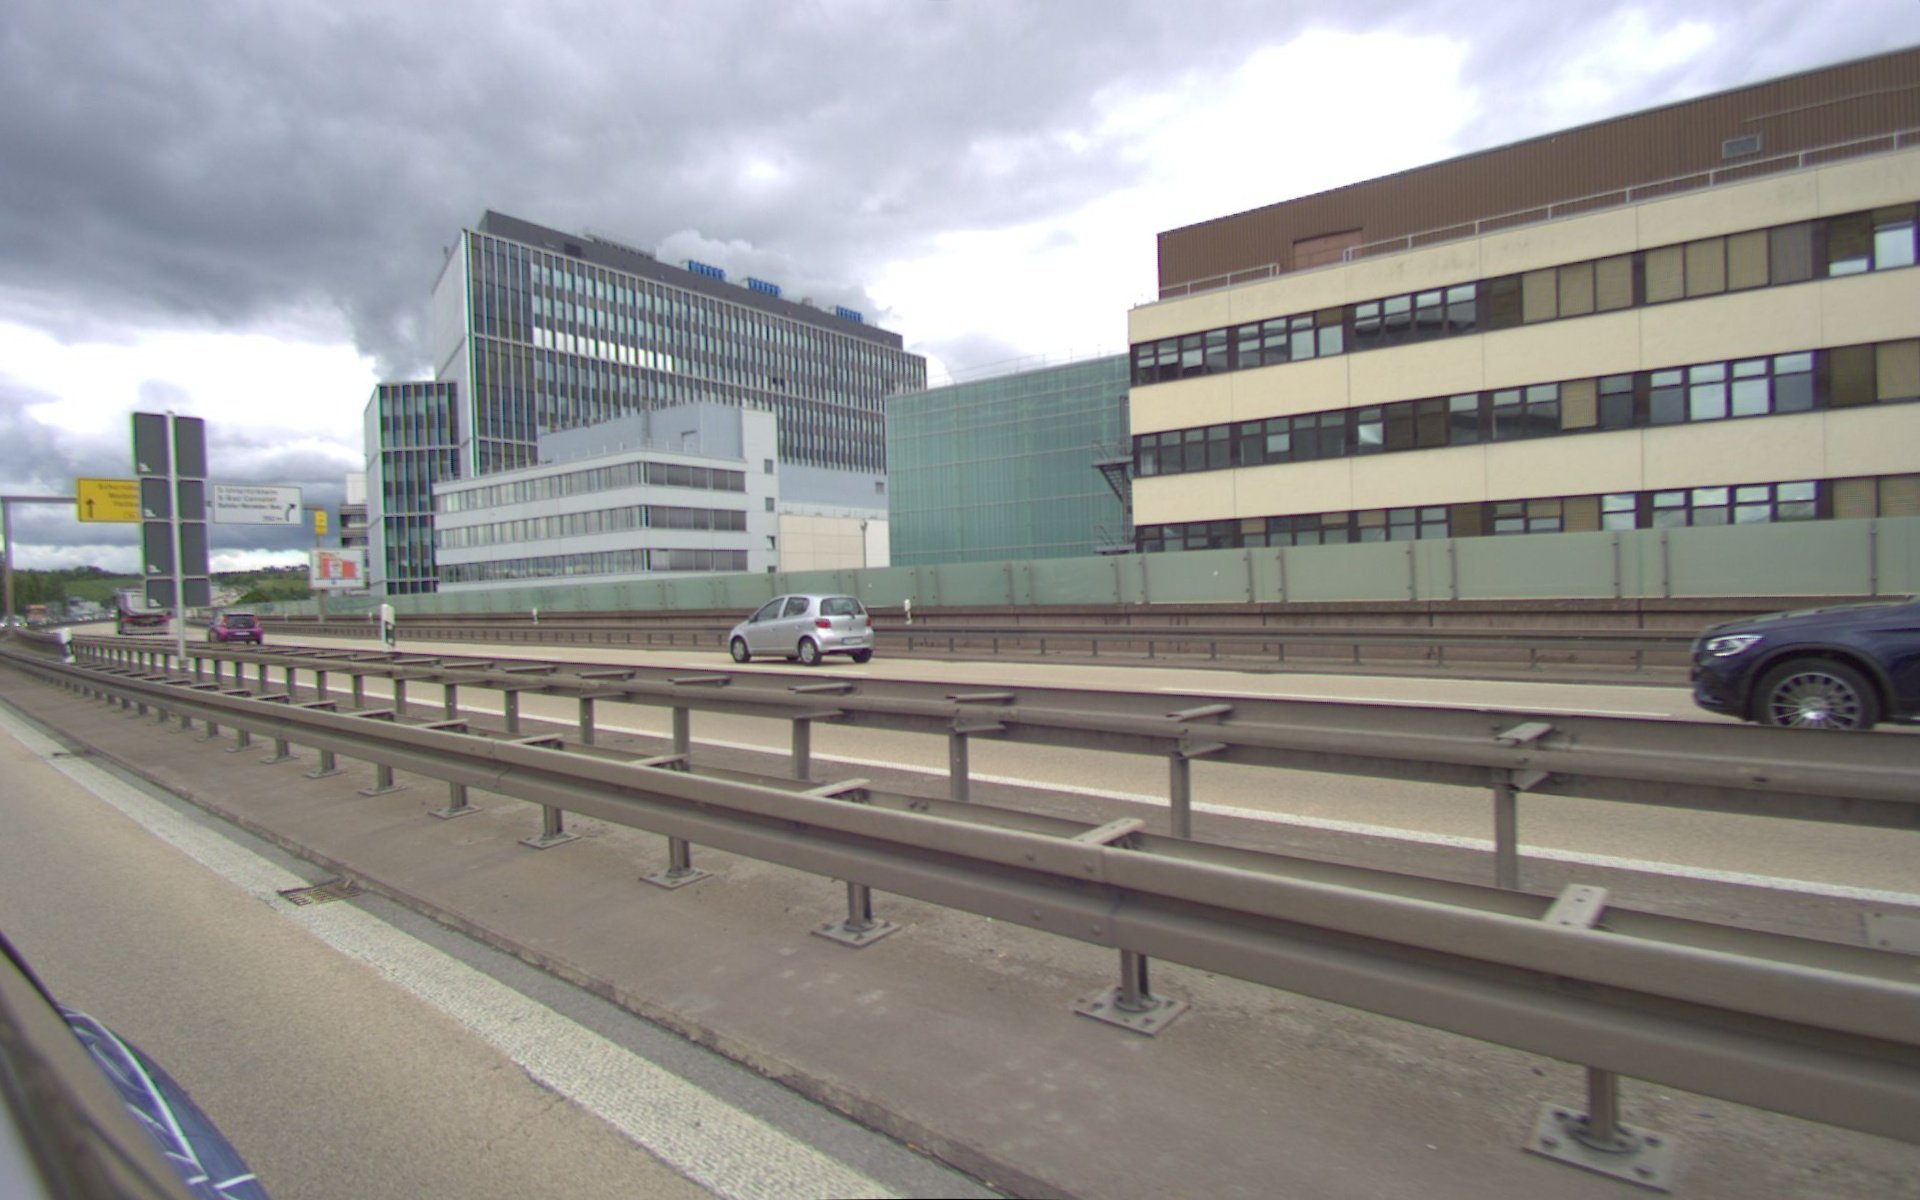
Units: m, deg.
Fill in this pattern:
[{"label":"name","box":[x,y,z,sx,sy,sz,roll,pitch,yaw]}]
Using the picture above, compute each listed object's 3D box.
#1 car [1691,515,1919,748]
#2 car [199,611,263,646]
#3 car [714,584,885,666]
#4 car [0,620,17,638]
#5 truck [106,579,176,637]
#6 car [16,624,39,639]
[{"label":"car","box":[8.116,0.200,7.010,4.811,1.631,1.736,-1,-1,41]},{"label":"car","box":[-32.511,1.263,45.108,1.734,1.494,4.094,0,-1,-44]},{"label":"car","box":[-3.503,0.530,21.793,3.683,1.609,1.665,-1,-1,41]},{"label":"car","box":[-113.221,3.385,120.039,1.970,2.029,4.003,-1,0,-44]},{"label":"truck","box":[-60.386,0.636,74.466,3.222,3.887,13.068,-2,0,-42]},{"label":"car","box":[-130.522,4.428,141.702,1.968,2.029,4.009,-1,0,-37]}]
